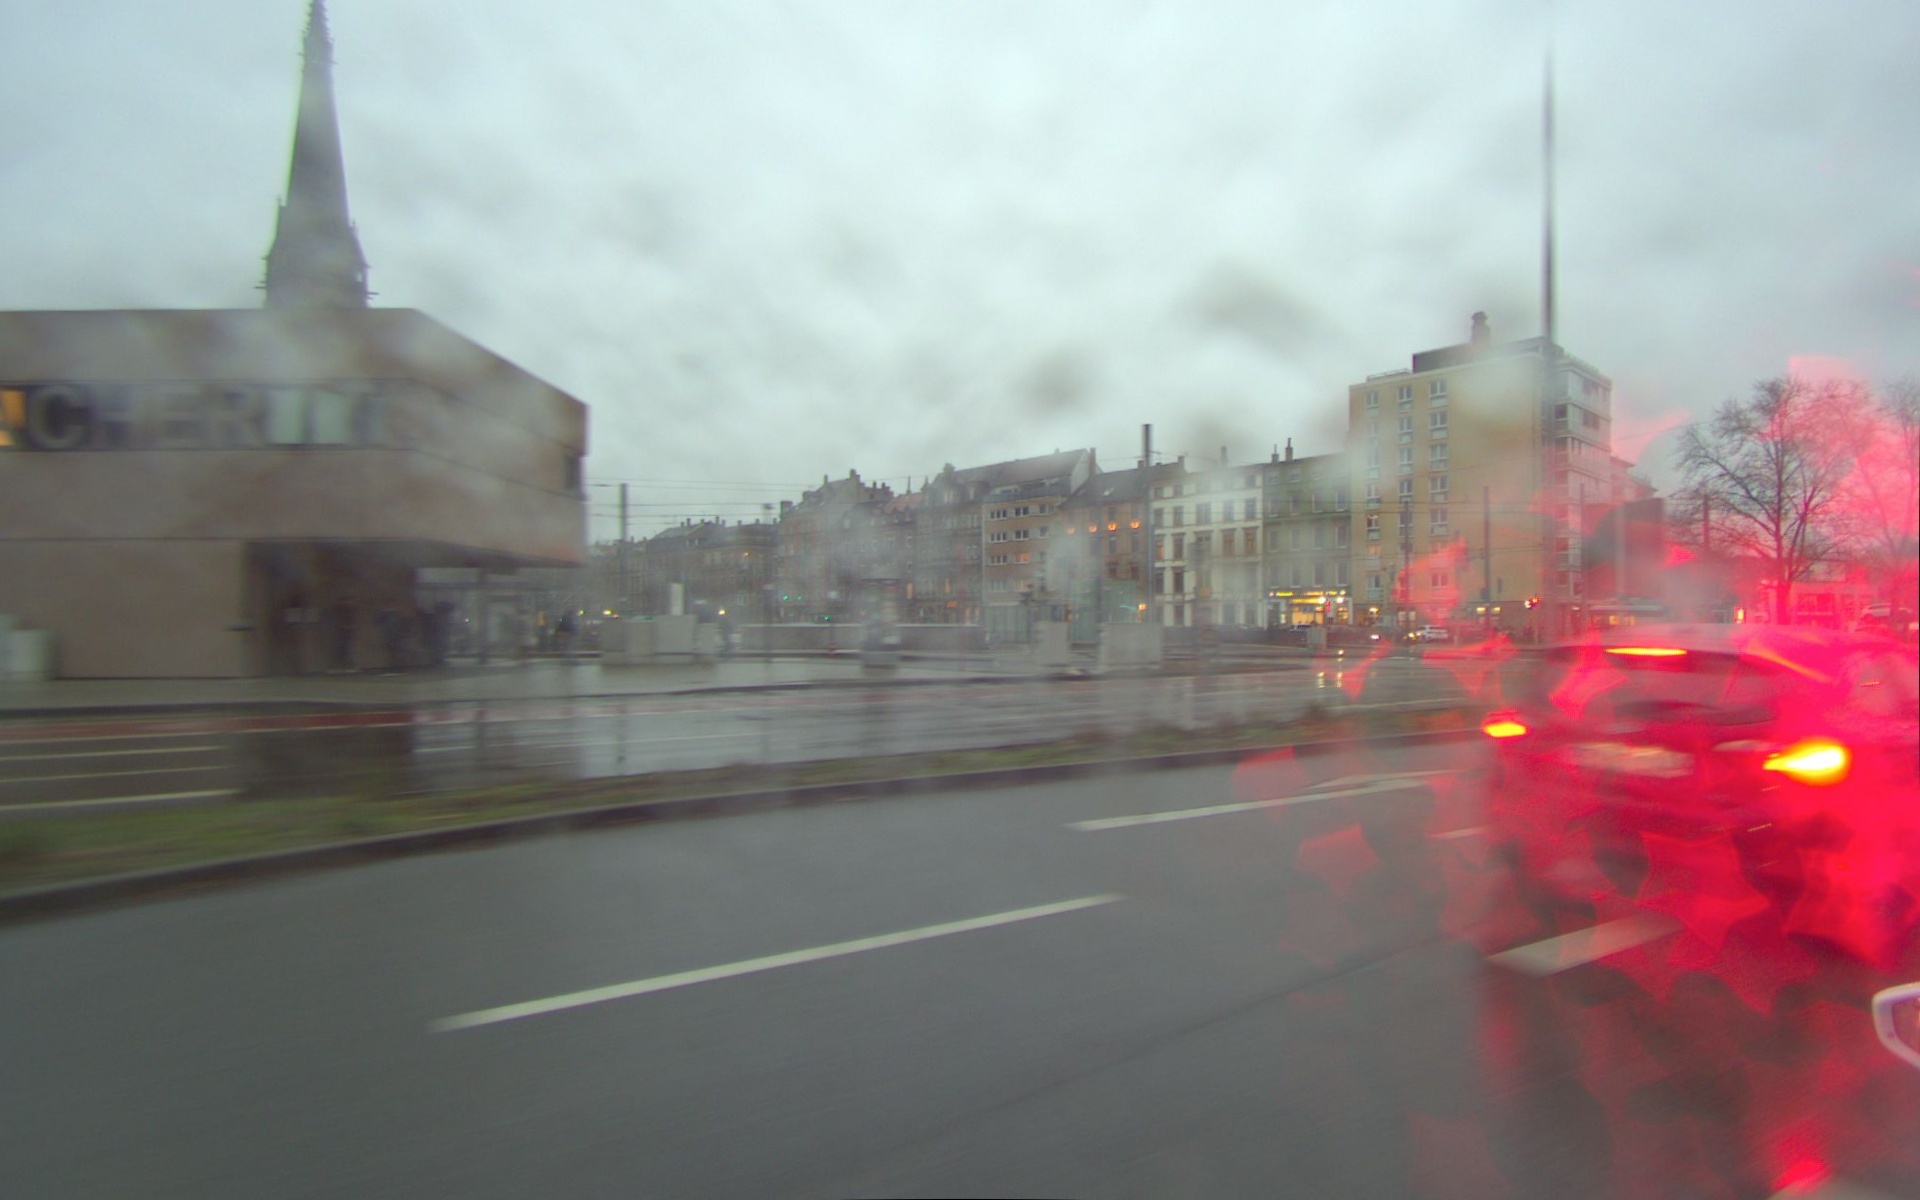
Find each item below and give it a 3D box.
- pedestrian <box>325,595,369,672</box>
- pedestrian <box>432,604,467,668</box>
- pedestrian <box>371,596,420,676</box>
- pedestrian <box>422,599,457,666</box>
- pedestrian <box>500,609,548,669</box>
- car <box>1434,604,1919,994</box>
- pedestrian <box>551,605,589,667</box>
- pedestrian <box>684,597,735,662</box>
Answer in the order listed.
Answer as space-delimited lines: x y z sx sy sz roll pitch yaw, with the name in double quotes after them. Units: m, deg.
-14.122 0.764 23.160 0.733 1.749 0.739 0 -2 -20 "pedestrian"
-14.182 0.987 27.906 0.737 1.749 0.735 1 -2 -37 "pedestrian"
-12.885 0.813 22.935 0.653 1.791 0.828 -2 -2 45 "pedestrian"
-13.882 0.869 26.801 0.733 1.749 0.739 0 -2 -20 "pedestrian"
-12.165 1.085 28.053 0.946 1.624 0.856 0 -1 1 "pedestrian"
4.615 0.823 5.798 3.832 1.501 1.689 1 1 -35 "car"
-11.407 1.042 29.385 0.790 1.774 0.758 -2 -2 44 "pedestrian"
-7.747 0.914 31.091 1.042 1.944 1.123 -1 -2 24 "pedestrian"
